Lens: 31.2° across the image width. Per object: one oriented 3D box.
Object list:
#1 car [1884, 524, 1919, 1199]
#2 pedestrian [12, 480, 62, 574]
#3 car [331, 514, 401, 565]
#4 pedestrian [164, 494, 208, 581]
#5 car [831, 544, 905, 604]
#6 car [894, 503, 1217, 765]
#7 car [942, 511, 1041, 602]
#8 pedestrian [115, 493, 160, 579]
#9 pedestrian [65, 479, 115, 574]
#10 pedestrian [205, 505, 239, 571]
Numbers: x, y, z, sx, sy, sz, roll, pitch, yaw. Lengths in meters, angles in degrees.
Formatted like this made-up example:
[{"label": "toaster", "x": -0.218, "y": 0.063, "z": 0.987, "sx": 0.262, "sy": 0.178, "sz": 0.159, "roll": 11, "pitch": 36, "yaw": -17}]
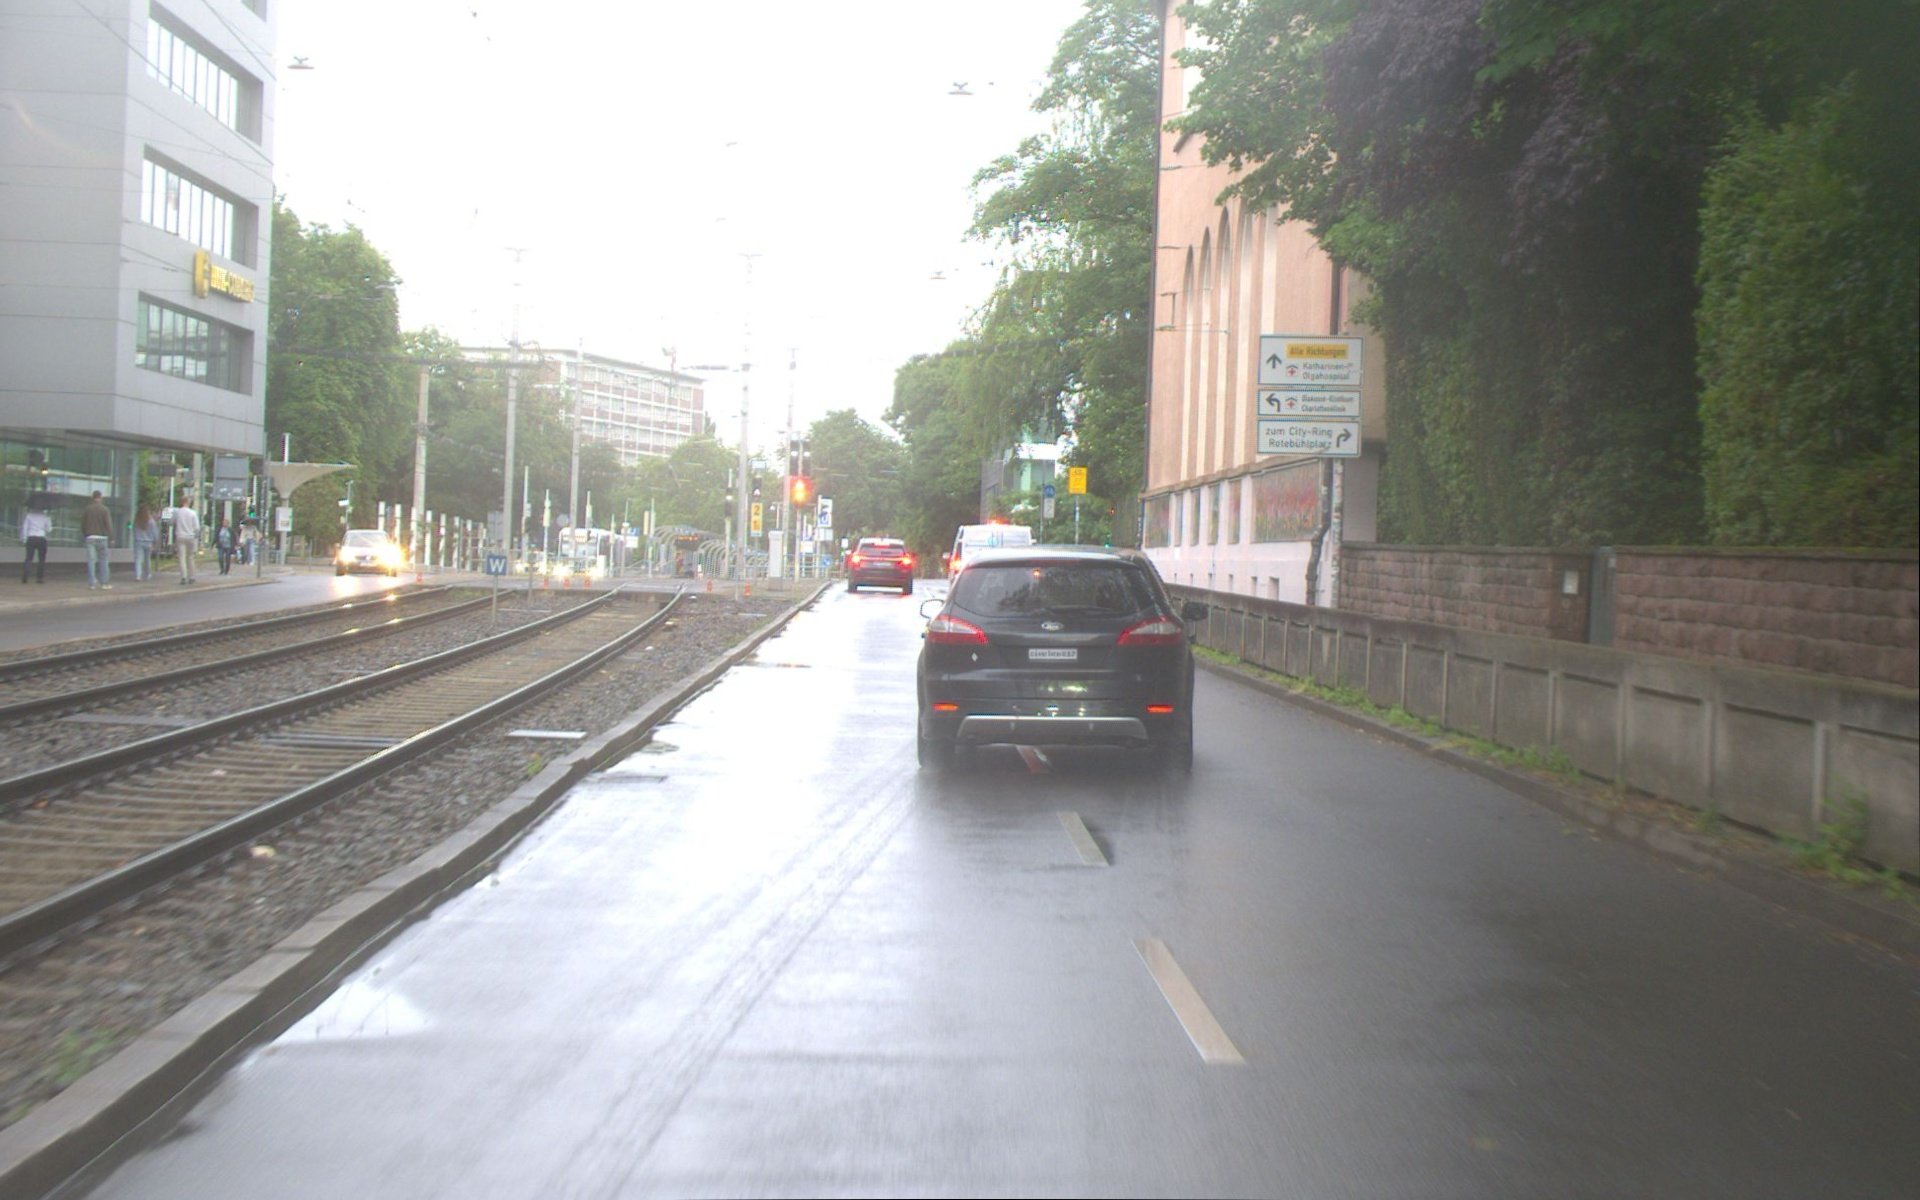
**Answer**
[{"label": "car", "x": 2.499, "y": 0.692, "z": 3.950, "sx": 1.642, "sy": 1.510, "sz": 4.039, "roll": 2, "pitch": 1, "yaw": -2}, {"label": "pedestrian", "x": -18.498, "y": -1.456, "z": 68.929, "sx": 0.744, "sy": 1.847, "sz": 0.839, "roll": 2, "pitch": -1, "yaw": -2}, {"label": "car", "x": -18.022, "y": -1.841, "z": 104.466, "sx": 1.993, "sy": 1.437, "sz": 4.001, "roll": 2, "pitch": 1, "yaw": -9}, {"label": "pedestrian", "x": -16.989, "y": -1.365, "z": 75.482, "sx": 0.744, "sy": 1.847, "sz": 0.839, "roll": 2, "pitch": -1, "yaw": -2}, {"label": "car", "x": -2.587, "y": -0.720, "z": 97.946, "sx": 1.993, "sy": 1.588, "sz": 4.271, "roll": 2, "pitch": 0, "yaw": -1}, {"label": "car", "x": 0.580, "y": 0.229, "z": 23.745, "sx": 1.993, "sy": 1.588, "sz": 4.271, "roll": 2, "pitch": 0, "yaw": -1}, {"label": "car", "x": 0.649, "y": -0.905, "z": 74.027, "sx": 1.993, "sy": 1.810, "sz": 4.271, "roll": 2, "pitch": 0, "yaw": -1}, {"label": "pedestrian", "x": -18.030, "y": -1.394, "z": 75.372, "sx": 0.744, "sy": 1.847, "sz": 0.839, "roll": 2, "pitch": -1, "yaw": -2}, {"label": "pedestrian", "x": -17.464, "y": -1.467, "z": 69.025, "sx": 0.744, "sy": 1.847, "sz": 0.839, "roll": 2, "pitch": -1, "yaw": -2}, {"label": "pedestrian", "x": -21.313, "y": -1.793, "z": 99.286, "sx": 0.744, "sy": 1.847, "sz": 0.839, "roll": 2, "pitch": -1, "yaw": -2}]
